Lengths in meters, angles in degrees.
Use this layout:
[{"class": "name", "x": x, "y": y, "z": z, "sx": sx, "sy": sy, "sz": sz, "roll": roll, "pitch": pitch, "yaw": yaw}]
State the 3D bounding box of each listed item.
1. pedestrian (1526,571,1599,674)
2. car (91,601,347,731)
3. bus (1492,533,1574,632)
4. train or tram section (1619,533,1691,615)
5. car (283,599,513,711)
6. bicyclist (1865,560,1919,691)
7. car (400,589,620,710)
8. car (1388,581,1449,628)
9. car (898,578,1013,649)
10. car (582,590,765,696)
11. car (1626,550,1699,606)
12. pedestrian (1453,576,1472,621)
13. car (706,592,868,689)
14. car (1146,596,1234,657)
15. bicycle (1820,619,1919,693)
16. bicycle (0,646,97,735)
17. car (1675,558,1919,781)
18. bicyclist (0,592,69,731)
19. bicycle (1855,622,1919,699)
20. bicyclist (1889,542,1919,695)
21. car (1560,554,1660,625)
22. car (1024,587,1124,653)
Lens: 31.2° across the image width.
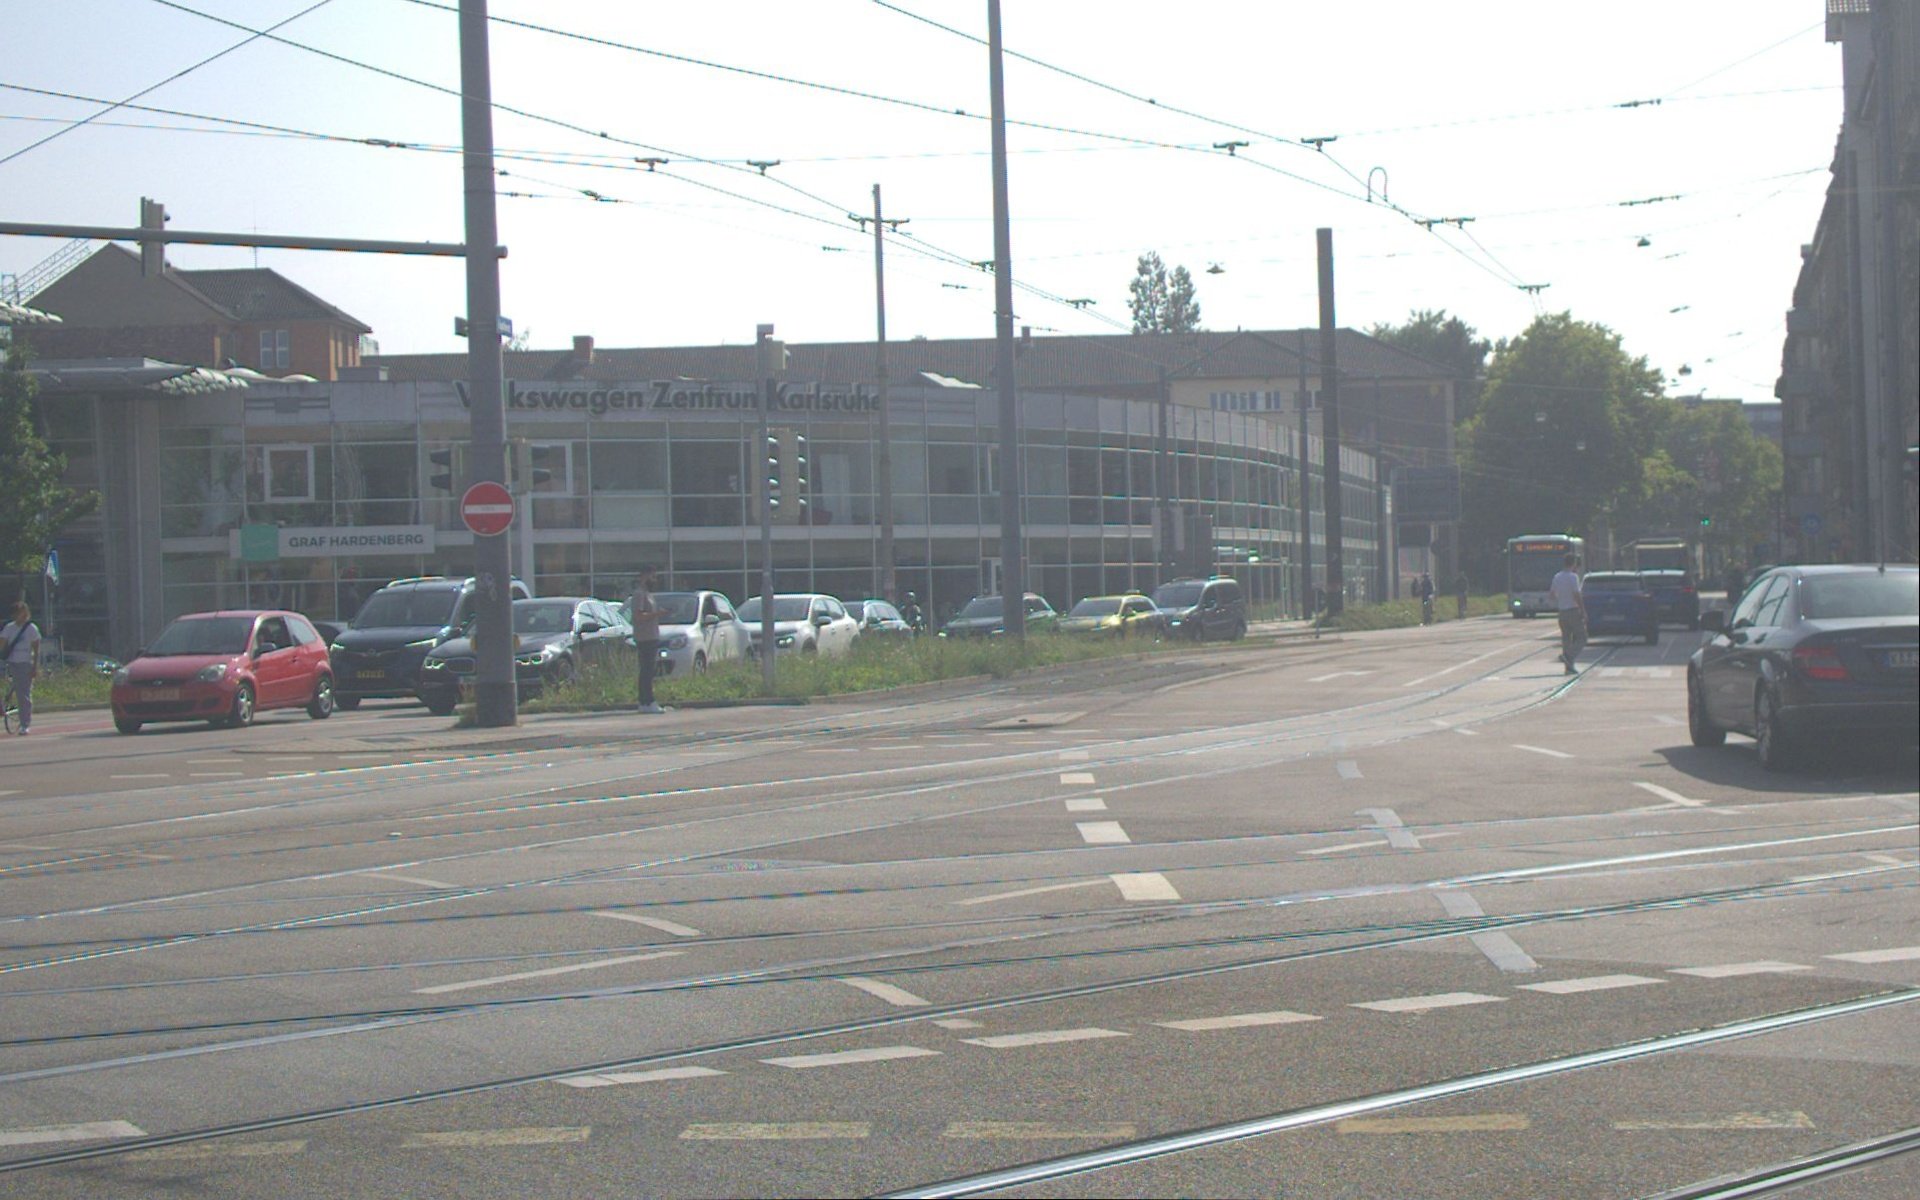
[{"class": "pedestrian", "x": 8.949, "y": 0.329, "z": 51.093, "sx": 0.777, "sy": 1.498, "sz": 0.710, "roll": -1, "pitch": 0, "yaw": -23}, {"class": "car", "x": -9.334, "y": 0.806, "z": 43.609, "sx": 1.615, "sy": 1.471, "sz": 3.998, "roll": -3, "pitch": 0, "yaw": 12}, {"class": "bus", "x": 22.537, "y": -0.688, "z": 135.680, "sx": 2.921, "sy": 3.606, "sz": 16.740, "roll": -1, "pitch": 0, "yaw": 9}, {"class": "train or tram section", "x": 32.865, "y": -1.253, "z": 162.893, "sx": 2.655, "sy": 3.686, "sz": 10.586, "roll": -1, "pitch": 0, "yaw": 8}, {"class": "car", "x": -8.219, "y": 0.779, "z": 50.652, "sx": 1.961, "sy": 1.471, "sz": 3.998, "roll": -3, "pitch": 0, "yaw": 12}, {"class": "bicyclist", "x": 13.381, "y": 0.344, "z": 47.951, "sx": 0.934, "sy": 1.793, "sz": 1.093, "roll": -1, "pitch": 0, "yaw": -27}, {"class": "car", "x": -5.957, "y": 0.630, "z": 45.932, "sx": 1.615, "sy": 1.471, "sz": 3.998, "roll": -3, "pitch": 0, "yaw": 12}, {"class": "car", "x": 15.474, "y": 0.142, "z": 115.858, "sx": 1.615, "sy": 1.471, "sz": 3.998, "roll": -3, "pitch": 0, "yaw": 13}, {"class": "car", "x": -0.071, "y": 0.279, "z": 76.727, "sx": 1.615, "sy": 1.471, "sz": 3.998, "roll": -3, "pitch": 0, "yaw": 13}, {"class": "car", "x": -4.317, "y": 0.631, "z": 52.377, "sx": 1.615, "sy": 1.471, "sz": 3.998, "roll": -3, "pitch": 0, "yaw": 12}, {"class": "car", "x": 18.717, "y": -0.596, "z": 91.681, "sx": 1.826, "sy": 1.423, "sz": 4.410, "roll": -1, "pitch": 0, "yaw": 11}, {"class": "pedestrian", "x": 18.347, "y": -0.065, "z": 125.459, "sx": 0.595, "sy": 1.625, "sz": 0.637, "roll": -1, "pitch": 0, "yaw": 14}, {"class": "car", "x": -2.859, "y": 0.656, "z": 57.754, "sx": 1.615, "sy": 1.471, "sz": 3.998, "roll": -3, "pitch": 0, "yaw": 13}, {"class": "car", "x": 6.073, "y": 0.677, "z": 90.281, "sx": 1.615, "sy": 1.471, "sz": 3.998, "roll": -3, "pitch": 0, "yaw": 13}, {"class": "bicycle", "x": 13.402, "y": 0.764, "z": 47.962, "sx": 2.618, "sy": 0.961, "sz": 1.093, "roll": -1, "pitch": 0, "yaw": -27}, {"class": "bicycle", "x": -12.066, "y": 1.138, "z": 43.856, "sx": 0.958, "sy": 1.053, "sz": 2.606, "roll": -1, "pitch": 0, "yaw": 13}, {"class": "car", "x": 6.338, "y": 0.438, "z": 24.618, "sx": 1.683, "sy": 1.438, "sz": 4.372, "roll": -1, "pitch": 0, "yaw": 3}, {"class": "bicyclist", "x": -12.079, "y": 0.780, "z": 43.816, "sx": 0.958, "sy": 1.743, "sz": 1.165, "roll": -1, "pitch": 0, "yaw": 13}, {"class": "bicycle", "x": 13.134, "y": 0.777, "z": 45.671, "sx": 2.619, "sy": 0.961, "sz": 1.093, "roll": -1, "pitch": 0, "yaw": -40}, {"class": "bicyclist", "x": 13.087, "y": 0.236, "z": 45.644, "sx": 0.934, "sy": 2.017, "sz": 1.092, "roll": -1, "pitch": 0, "yaw": -40}, {"class": "car", "x": 13.882, "y": -0.238, "z": 73.313, "sx": 1.826, "sy": 1.423, "sz": 4.409, "roll": -1, "pitch": 0, "yaw": 14}, {"class": "car", "x": 2.802, "y": 0.473, "z": 83.880, "sx": 1.615, "sy": 1.471, "sz": 3.998, "roll": -3, "pitch": 0, "yaw": 13}]
